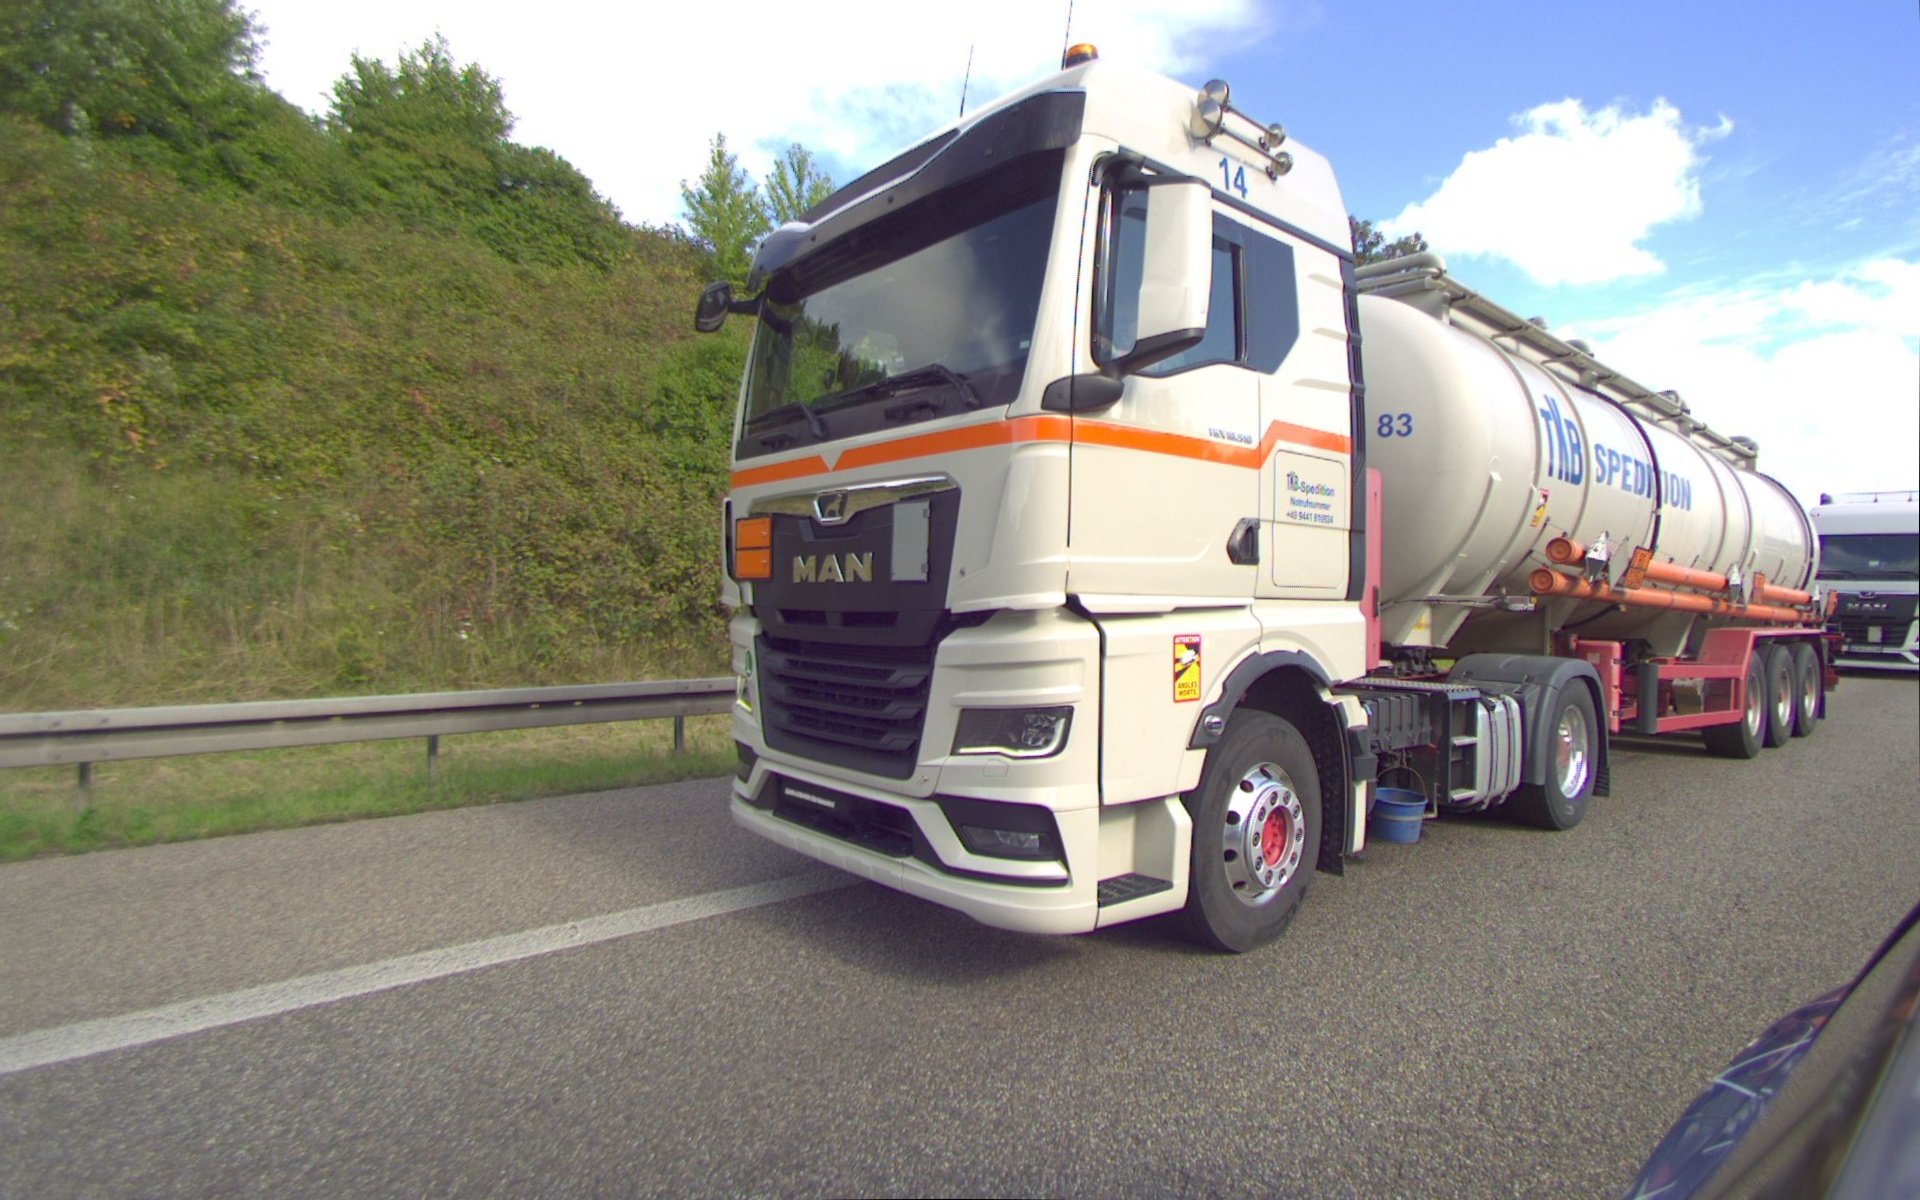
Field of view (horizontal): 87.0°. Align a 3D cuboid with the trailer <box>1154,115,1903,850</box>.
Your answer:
[{"bbox_3d":[6.621,-0.680,10.204,10.981,4.077,2.804,0,0,-39],"label":"trailer"}]

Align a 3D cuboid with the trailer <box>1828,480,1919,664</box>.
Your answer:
[{"bbox_3d":[26.447,-0.641,26.940,13.132,4.122,2.832,0,1,-39],"label":"trailer"}]

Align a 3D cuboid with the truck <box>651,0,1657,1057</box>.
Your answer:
[{"bbox_3d":[1.522,-0.689,6.005,5.798,4.094,2.809,0,0,-39],"label":"truck"}]

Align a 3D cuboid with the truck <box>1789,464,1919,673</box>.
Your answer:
[{"bbox_3d":[20.736,-0.634,22.236,5.605,4.123,2.840,0,0,-39],"label":"truck"}]
